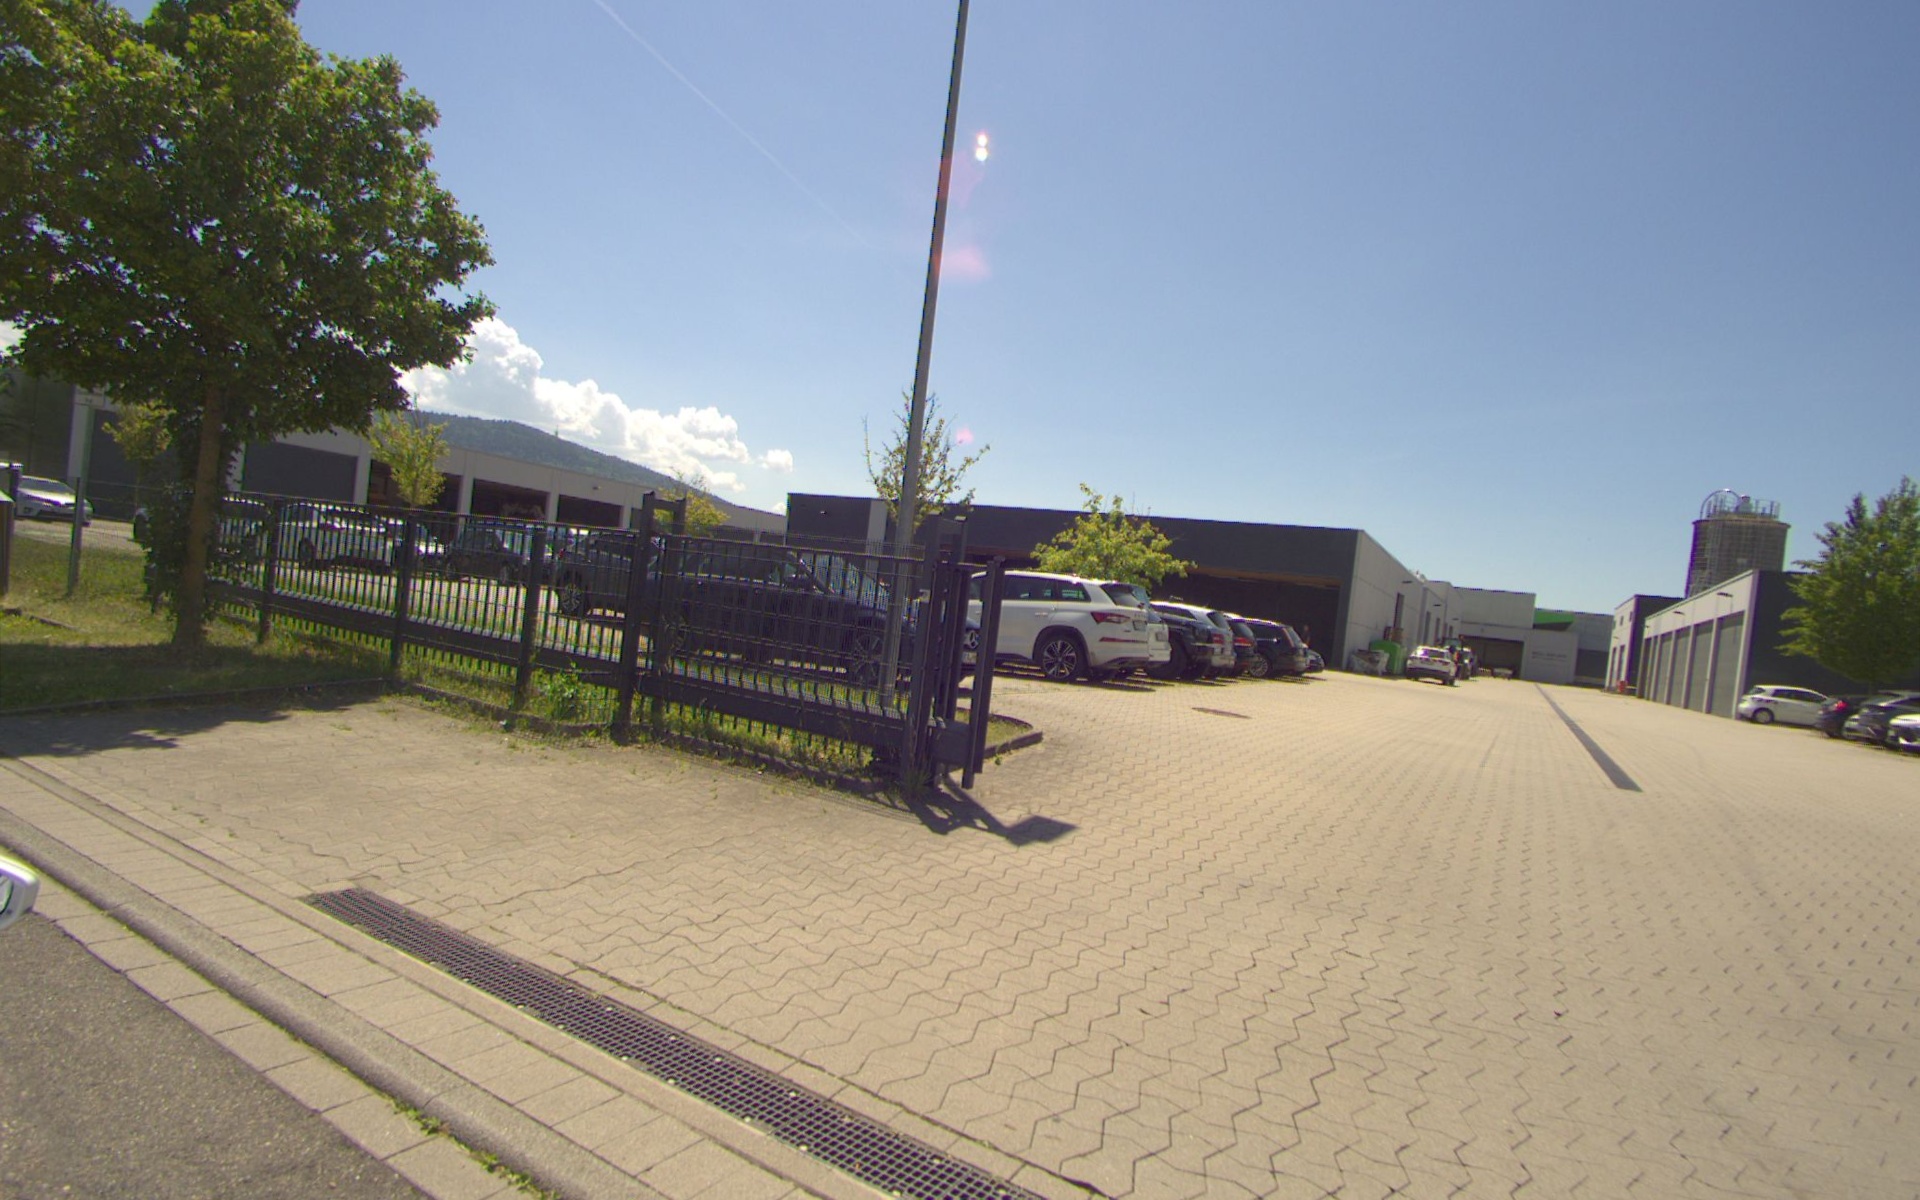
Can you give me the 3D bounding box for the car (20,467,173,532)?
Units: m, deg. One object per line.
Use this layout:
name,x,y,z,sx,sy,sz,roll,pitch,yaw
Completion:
car,-24.986,-2.914,29.083,4.392,1.542,1.883,4,0,29

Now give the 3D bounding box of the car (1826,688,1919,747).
car,27.362,3.447,28.440,4.046,1.375,1.615,6,1,31

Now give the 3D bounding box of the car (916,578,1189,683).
car,1.669,0.534,18.533,4.571,1.451,1.842,5,0,29

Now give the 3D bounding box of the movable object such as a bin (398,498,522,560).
movable object such as a bin,-32.037,-4.561,64.463,7.195,3.032,3.545,7,1,30

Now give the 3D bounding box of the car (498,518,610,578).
car,-19.669,-2.532,48.705,5.412,2.509,1.883,4,0,29

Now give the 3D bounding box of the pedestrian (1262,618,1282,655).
pedestrian,14.473,1.697,46.629,0.510,1.679,0.702,7,2,36

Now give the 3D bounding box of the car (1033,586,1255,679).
car,4.126,0.707,22.663,4.439,1.643,1.914,5,0,29

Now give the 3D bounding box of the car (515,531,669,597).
car,-10.402,-1.029,28.392,4.030,1.480,1.792,5,0,29

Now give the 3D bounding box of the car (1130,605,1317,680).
car,7.072,1.123,27.110,4.439,1.552,1.914,5,0,29

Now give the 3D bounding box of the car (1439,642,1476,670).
car,35.542,3.989,71.832,1.891,1.717,4.101,7,1,31

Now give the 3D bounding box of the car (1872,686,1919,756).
car,24.757,3.112,24.019,4.046,1.571,1.615,6,1,31

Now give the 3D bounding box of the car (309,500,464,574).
car,-16.499,-1.817,28.910,4.345,1.500,1.792,9,2,29

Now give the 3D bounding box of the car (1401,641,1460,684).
car,21.792,2.874,46.518,1.891,1.634,4.101,7,1,31

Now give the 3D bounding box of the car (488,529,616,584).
car,-13.707,-1.462,33.793,4.030,1.480,1.792,5,0,29

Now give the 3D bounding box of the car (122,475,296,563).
car,-18.753,-2.030,25.095,4.345,1.550,1.792,9,2,29

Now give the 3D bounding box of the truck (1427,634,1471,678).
truck,32.221,3.671,66.260,1.966,2.589,5.225,7,1,30

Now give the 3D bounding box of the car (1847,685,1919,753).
car,25.996,3.263,26.143,4.046,1.571,1.615,6,1,31

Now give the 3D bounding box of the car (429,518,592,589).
car,-11.856,-1.233,26.471,4.030,1.480,1.792,5,0,29

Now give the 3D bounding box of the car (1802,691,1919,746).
car,28.392,3.674,30.613,3.901,1.278,1.615,6,1,31

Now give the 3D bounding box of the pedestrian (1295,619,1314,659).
pedestrian,15.527,1.744,45.337,0.539,1.742,0.447,7,2,32

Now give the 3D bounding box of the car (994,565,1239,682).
car,3.160,0.451,20.557,4.439,1.923,1.914,5,0,29

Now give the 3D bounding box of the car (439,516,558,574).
car,-21.165,-2.544,46.091,5.560,2.291,1.883,4,0,29

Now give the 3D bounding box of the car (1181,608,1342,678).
car,9.501,1.341,31.766,4.455,1.736,1.914,5,0,29

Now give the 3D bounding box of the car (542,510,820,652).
car,-4.580,-0.320,16.389,4.168,1.644,1.792,9,2,29

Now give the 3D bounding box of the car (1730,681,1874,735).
car,32.704,4.169,39.231,3.973,1.481,1.683,6,1,31

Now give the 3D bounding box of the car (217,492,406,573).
car,-14.480,-1.519,22.438,4.073,1.450,1.792,5,0,29

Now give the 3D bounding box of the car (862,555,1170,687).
car,0.862,0.300,16.391,4.571,1.674,1.842,5,0,29

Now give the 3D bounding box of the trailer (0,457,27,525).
trailer,-32.341,-3.741,33.151,3.210,2.033,1.493,10,3,33

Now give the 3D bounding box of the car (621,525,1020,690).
car,-1.687,0.049,11.781,4.335,1.473,1.792,5,0,29

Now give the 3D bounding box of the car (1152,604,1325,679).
car,8.163,1.185,29.543,4.455,1.736,1.914,5,0,29

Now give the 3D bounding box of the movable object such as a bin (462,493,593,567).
movable object such as a bin,-29.567,-4.796,68.648,8.519,4.025,3.545,7,1,30

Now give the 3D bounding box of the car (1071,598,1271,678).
car,5.270,0.930,25.247,4.439,1.552,1.914,5,0,29
